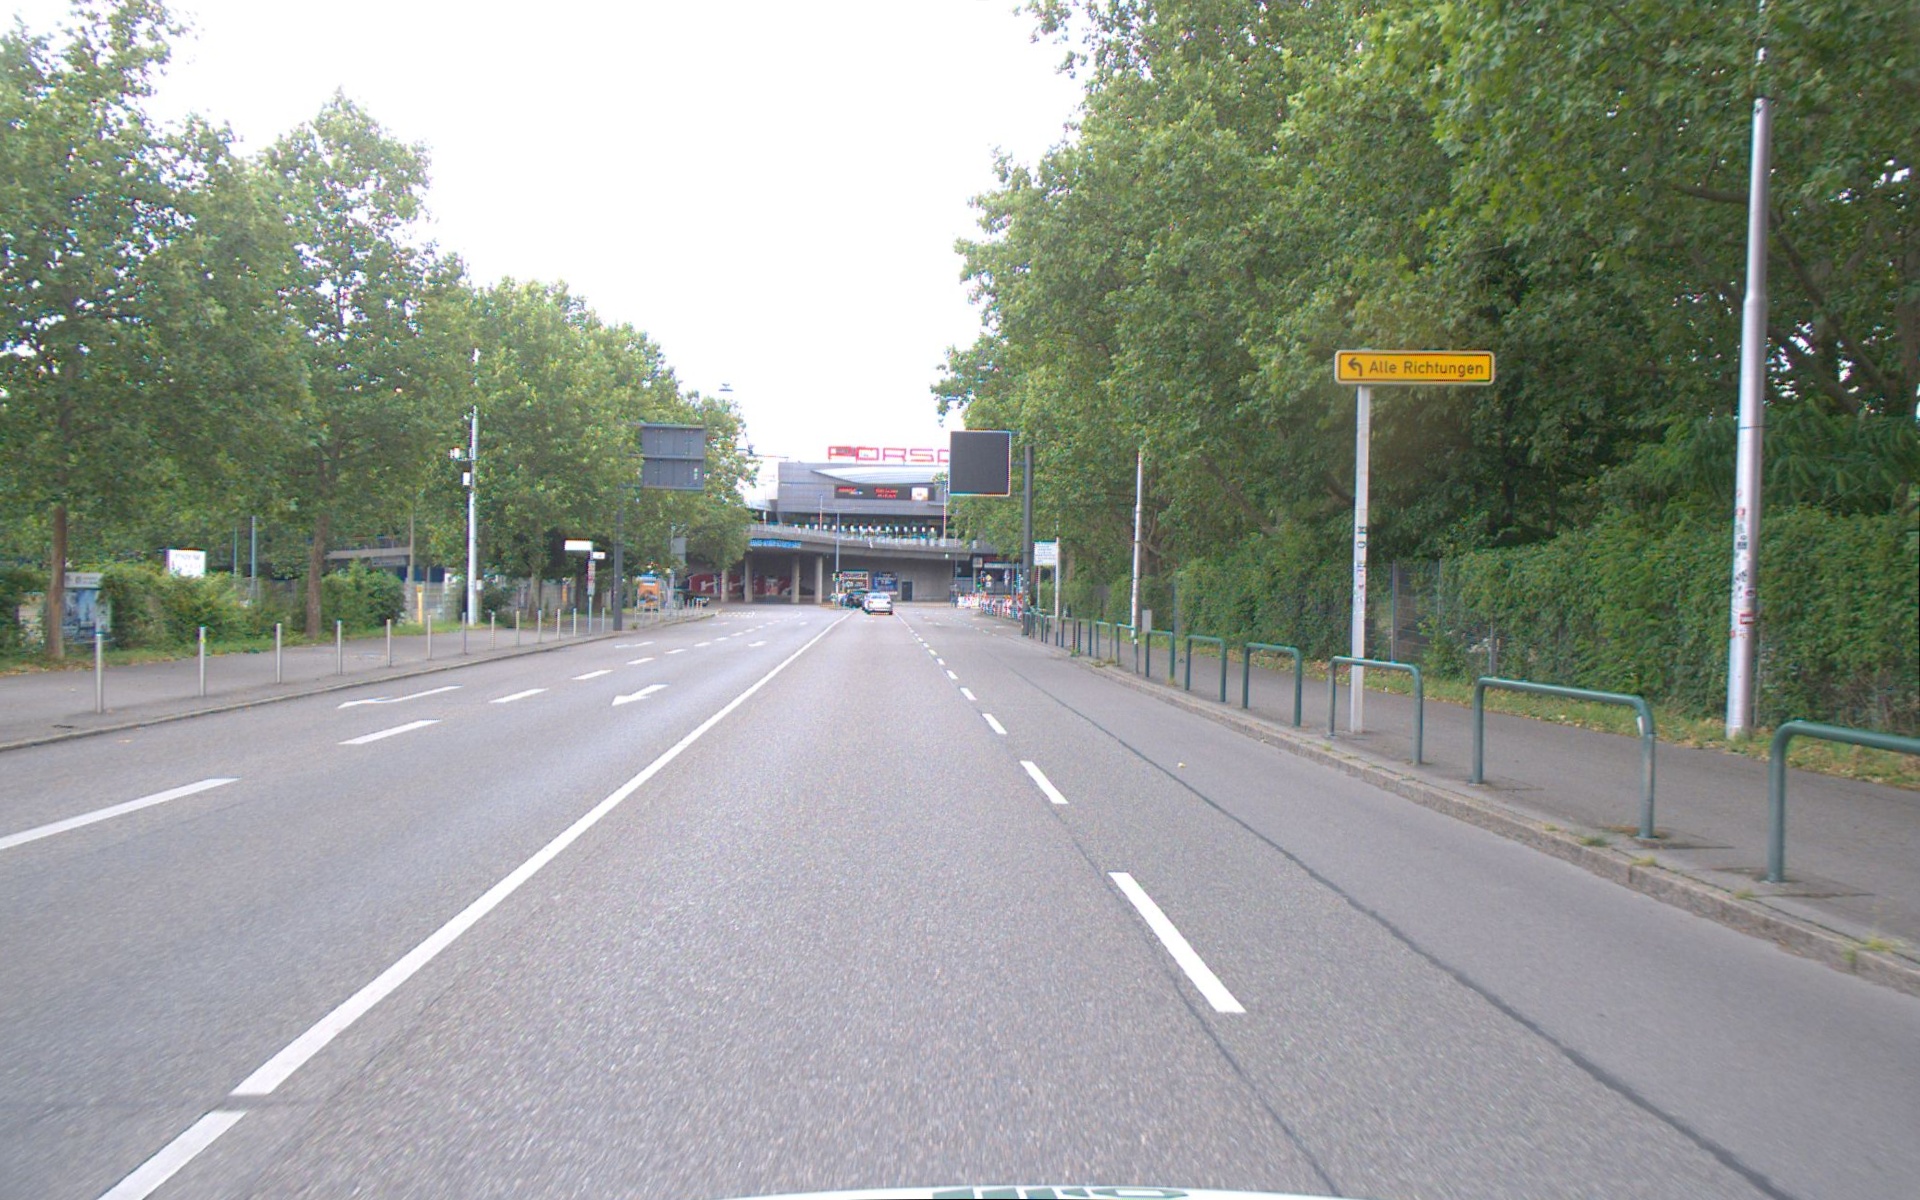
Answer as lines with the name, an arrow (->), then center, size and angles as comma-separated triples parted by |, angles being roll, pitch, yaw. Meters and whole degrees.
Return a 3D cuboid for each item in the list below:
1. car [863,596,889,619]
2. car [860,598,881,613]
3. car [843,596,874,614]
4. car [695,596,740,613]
car -> -5.935, 0.535, 117.123 | 1.743, 1.485, 3.820 | 3, 0, -2
car -> -7.518, 0.432, 138.618 | 1.385, 1.132, 3.031 | 3, 0, -9
car -> -9.319, 0.439, 151.638 | 1.962, 1.512, 3.981 | 1, 0, -17
car -> -21.112, 0.411, 144.012 | 3.498, 1.295, 1.662 | 3, 0, 19
